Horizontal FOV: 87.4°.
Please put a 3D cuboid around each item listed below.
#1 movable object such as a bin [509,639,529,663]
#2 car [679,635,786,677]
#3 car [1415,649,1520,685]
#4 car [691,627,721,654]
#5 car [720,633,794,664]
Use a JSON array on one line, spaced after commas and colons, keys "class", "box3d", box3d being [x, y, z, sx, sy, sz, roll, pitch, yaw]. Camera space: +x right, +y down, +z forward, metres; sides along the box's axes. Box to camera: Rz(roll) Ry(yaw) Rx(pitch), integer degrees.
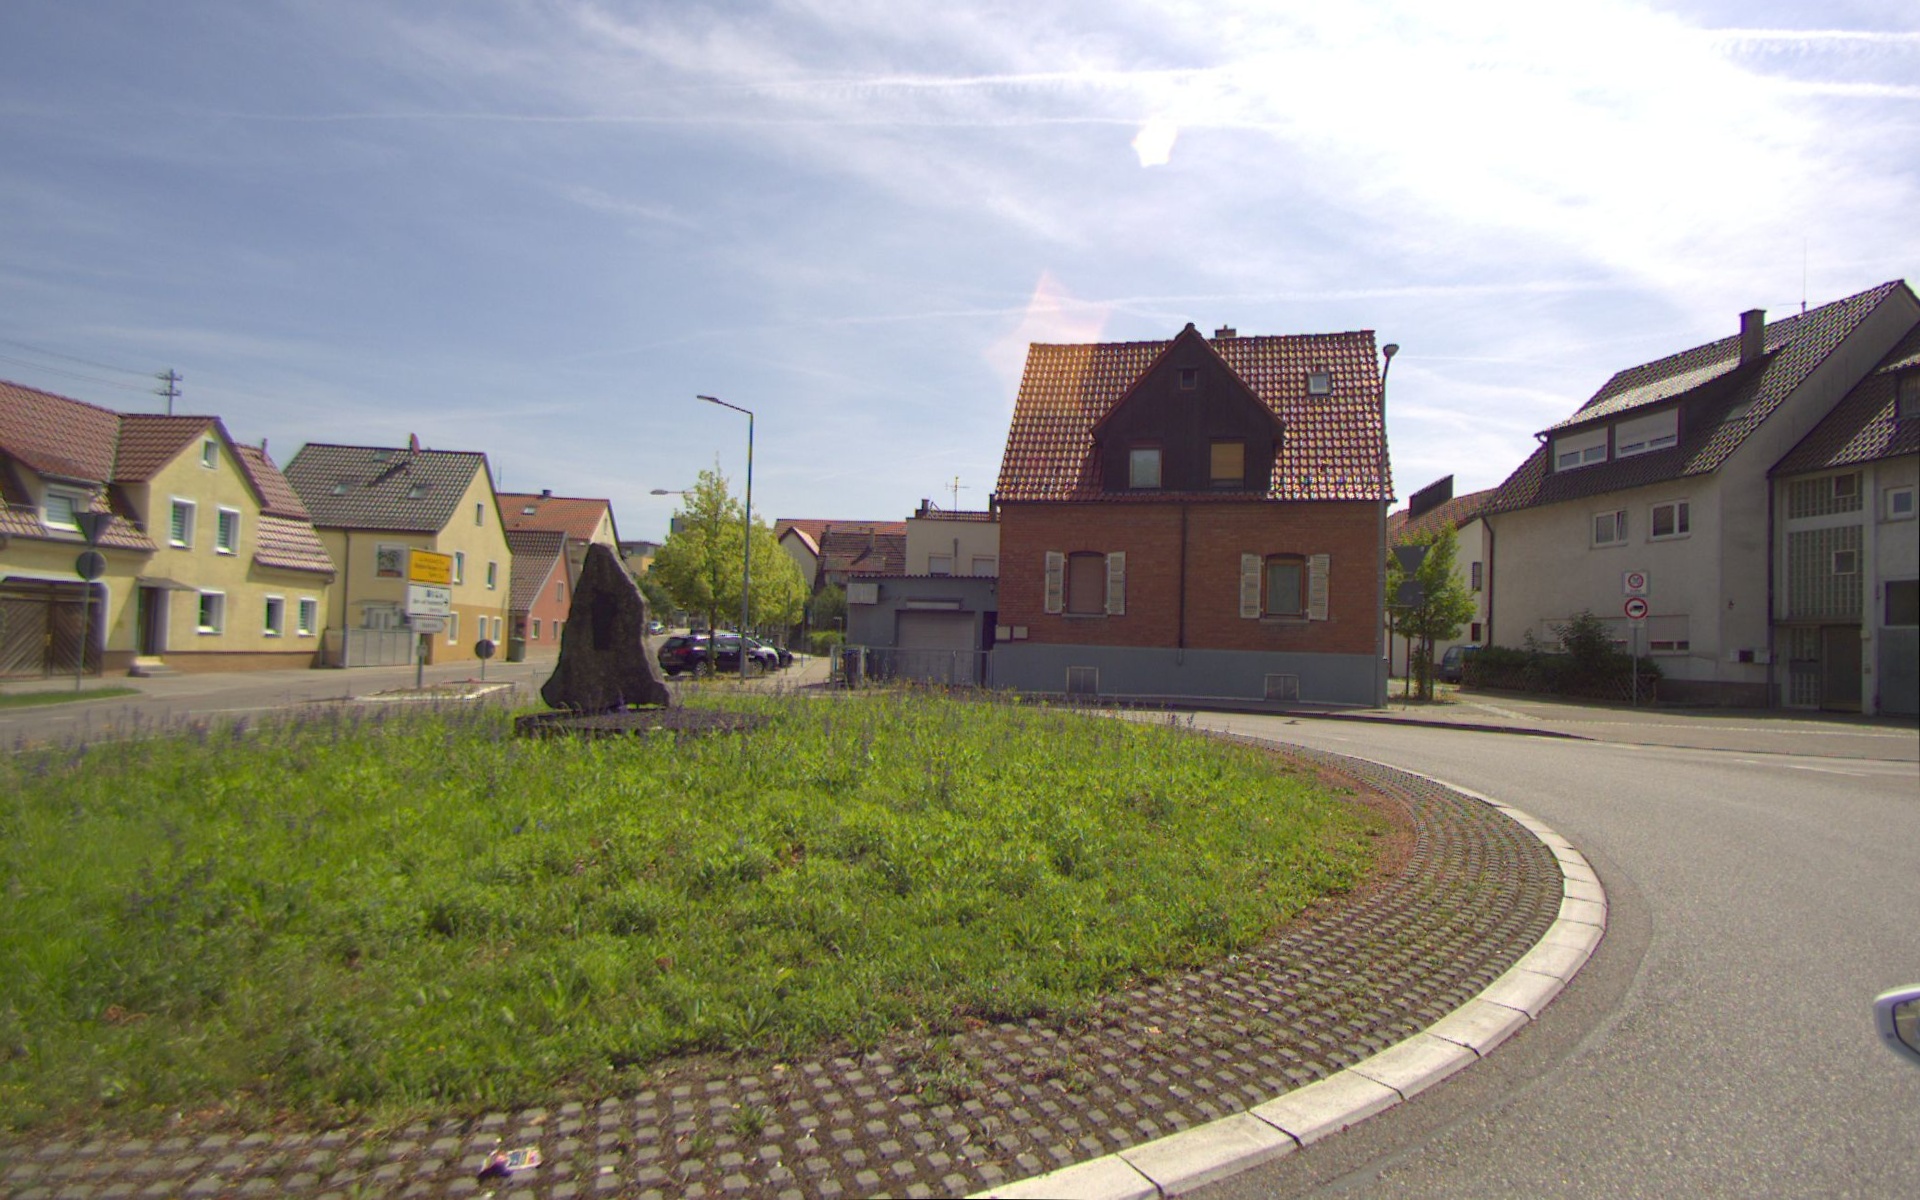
[{"class": "movable object such as a bin", "box3d": [-20.161, 2.315, 45.896, 0.687, 1.065, 0.674, 1, -2, -12]}, {"class": "car", "box3d": [-9.482, 2.331, 42.023, 3.974, 1.639, 1.794, 4, -3, -44]}, {"class": "car", "box3d": [19.427, 2.558, 38.508, 3.345, 1.268, 1.492, 1, -2, -6]}, {"class": "car", "box3d": [-20.228, 3.196, 80.057, 2.081, 2.040, 3.992, 2, -2, -12]}, {"class": "car", "box3d": [-11.598, 2.775, 57.488, 1.841, 1.691, 3.990, 0, -3, 33]}]
